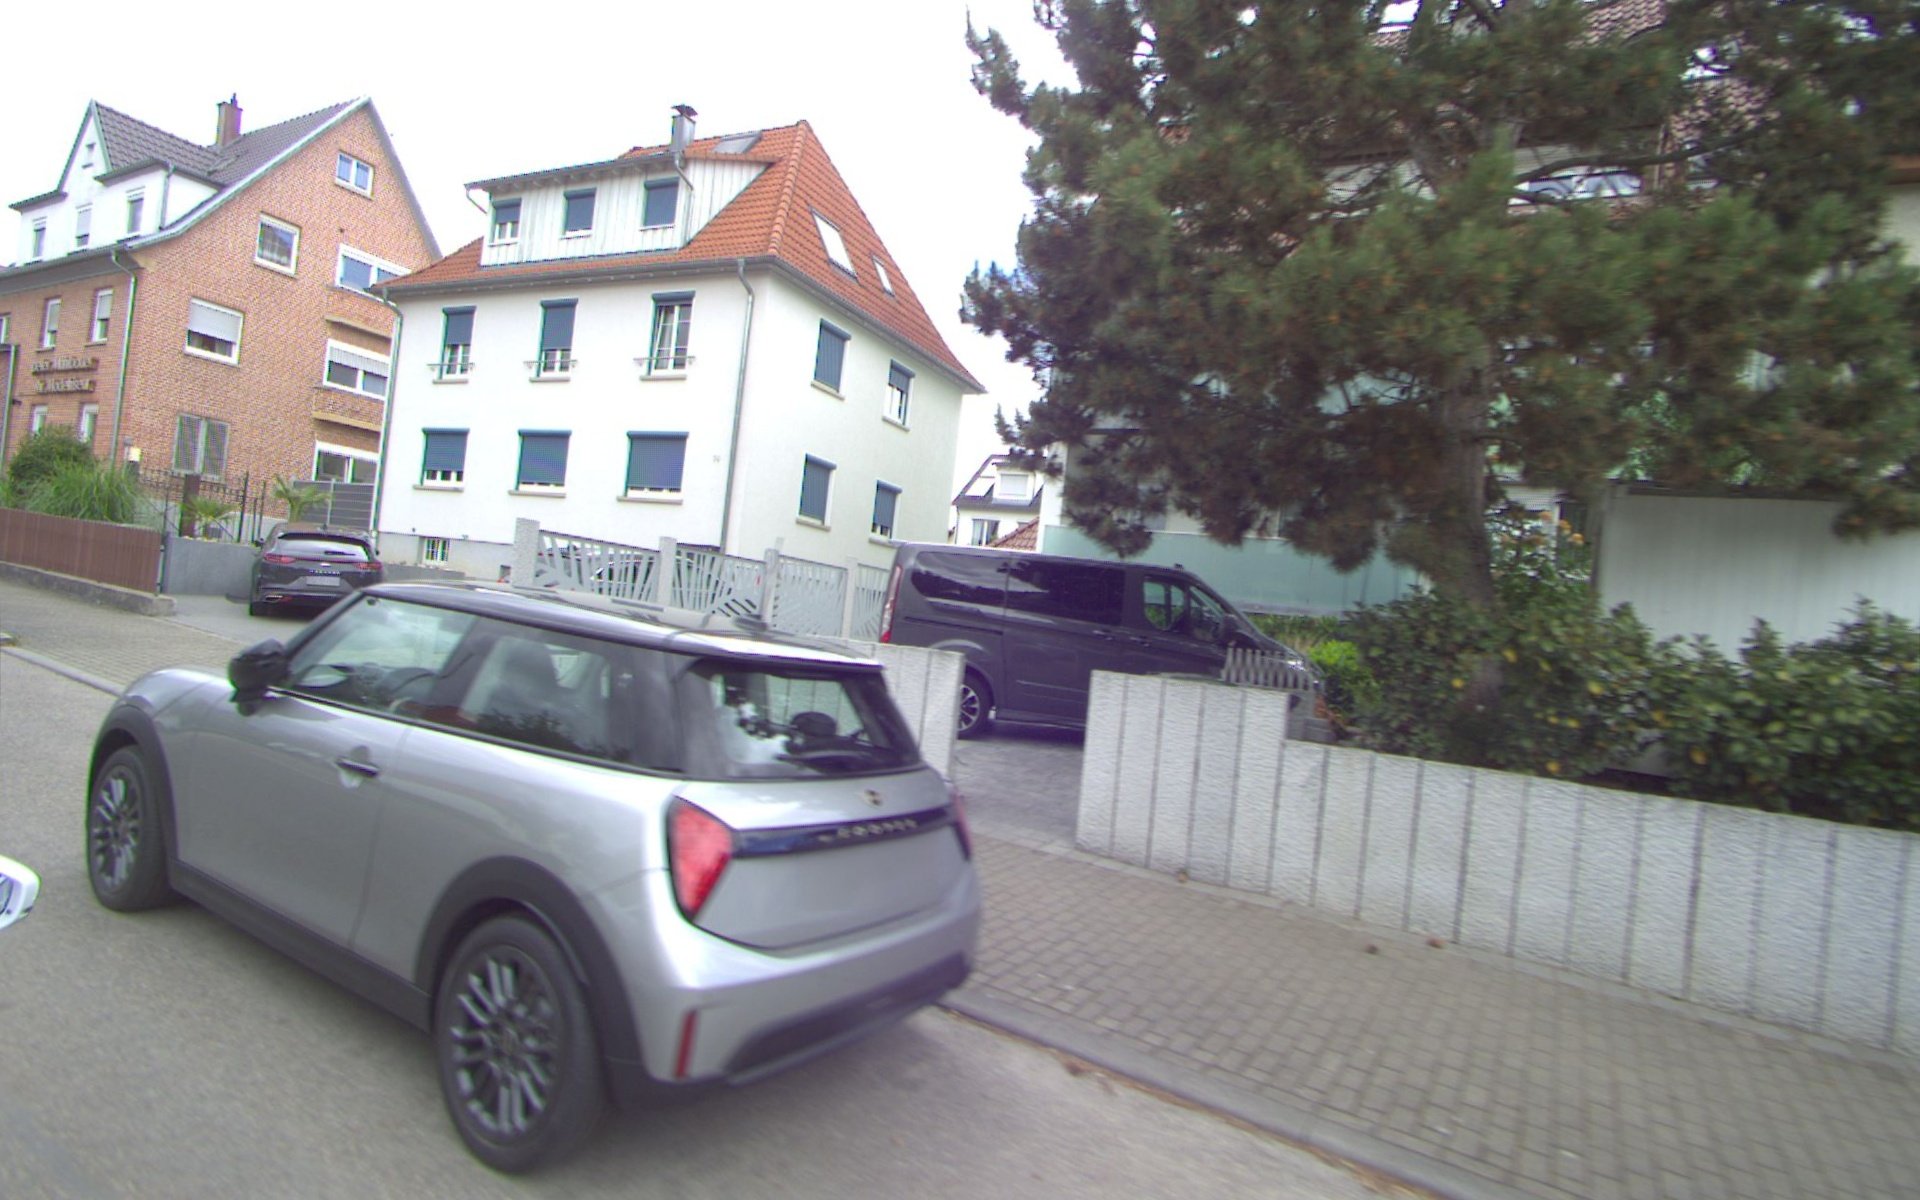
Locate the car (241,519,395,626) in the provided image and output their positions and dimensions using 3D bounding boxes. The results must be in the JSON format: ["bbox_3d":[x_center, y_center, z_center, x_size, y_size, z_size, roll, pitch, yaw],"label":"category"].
[{"bbox_3d":[-10.495,-0.493,16.294,1.807,1.398,4.436,4,1,-36],"label":"car"}]

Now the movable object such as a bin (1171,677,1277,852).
[{"bbox_3d":[1.833,1.126,7.060,0.603,1.071,0.593,4,3,10],"label":"movable object such as a bin"}]

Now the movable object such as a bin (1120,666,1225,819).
[{"bbox_3d":[1.645,1.095,7.865,0.603,1.071,0.593,3,3,-2],"label":"movable object such as a bin"}]

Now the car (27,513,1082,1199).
[{"bbox_3d":[-1.728,0.562,3.878,3.934,1.398,1.653,5,-3,32],"label":"car"}]

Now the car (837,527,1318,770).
[{"bbox_3d":[1.201,0.455,11.044,4.634,2.041,1.977,5,2,5],"label":"car"}]

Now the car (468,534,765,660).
[{"bbox_3d":[-4.879,-0.002,14.975,1.665,1.525,4.269,4,0,24],"label":"car"}]

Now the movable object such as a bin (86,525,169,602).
[{"bbox_3d":[-13.635,-0.589,16.486,0.680,1.117,0.777,7,-1,30],"label":"movable object such as a bin"}]
